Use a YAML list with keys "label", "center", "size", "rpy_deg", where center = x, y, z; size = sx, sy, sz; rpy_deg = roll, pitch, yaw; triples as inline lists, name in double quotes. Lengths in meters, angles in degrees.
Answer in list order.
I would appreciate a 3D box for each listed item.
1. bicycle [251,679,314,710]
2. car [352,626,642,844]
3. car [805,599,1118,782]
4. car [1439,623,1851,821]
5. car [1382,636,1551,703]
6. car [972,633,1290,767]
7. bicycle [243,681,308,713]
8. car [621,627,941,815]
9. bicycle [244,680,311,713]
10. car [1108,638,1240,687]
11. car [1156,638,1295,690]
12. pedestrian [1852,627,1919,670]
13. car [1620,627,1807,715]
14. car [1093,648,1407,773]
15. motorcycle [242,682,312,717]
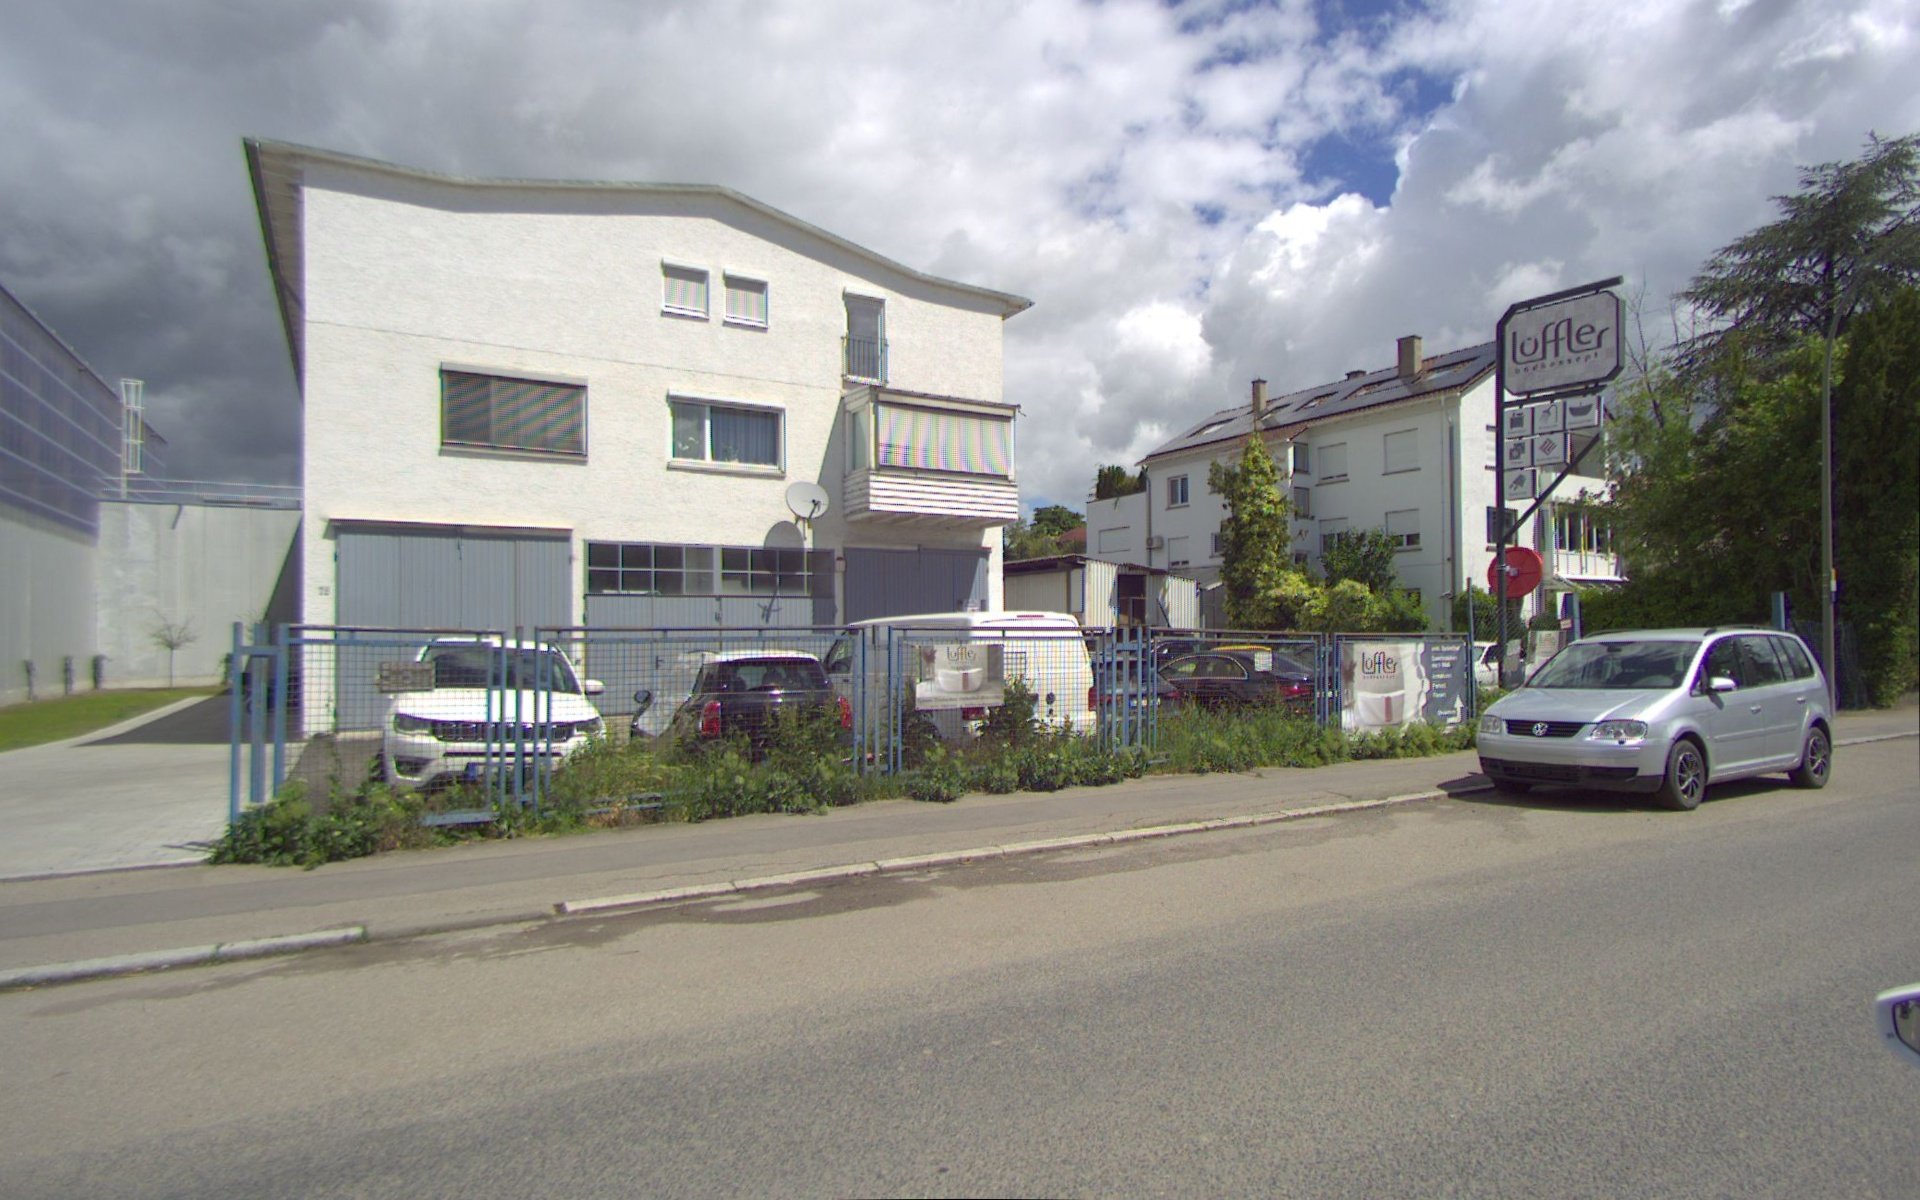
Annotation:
- label: "bicycle"
  center: [-21.030, 2.928, 31.197]
  size: [1.579, 0.867, 0.444]
  rpy_deg: [1, 1, -31]
- label: "car"
  center: [-4.583, 1.129, 9.705]
  size: [1.968, 1.586, 4.261]
  rpy_deg: [5, -4, -29]
- label: "car"
  center: [-0.179, 1.059, 12.568]
  size: [1.969, 1.859, 4.258]
  rpy_deg: [5, -4, -31]
- label: "car"
  center: [6.996, 1.070, 10.170]
  size: [4.313, 1.624, 1.783]
  rpy_deg: [1, -3, -31]
- label: "car"
  center: [13.114, 1.727, 25.969]
  size: [4.329, 1.564, 1.983]
  rpy_deg: [1, -2, -33]
- label: "car"
  center: [2.131, 1.270, 13.687]
  size: [1.969, 1.504, 4.258]
  rpy_deg: [5, -4, -31]
- label: "bicycle"
  center: [-20.317, 2.864, 29.848]
  size: [1.579, 0.867, 0.297]
  rpy_deg: [1, 1, -31]
- label: "car"
  center: [-2.135, 1.166, 10.858]
  size: [1.969, 1.586, 4.258]
  rpy_deg: [5, -4, -31]
- label: "bicycle"
  center: [-19.918, 2.816, 29.345]
  size: [1.579, 0.867, 0.392]
  rpy_deg: [1, 1, -31]
- label: "car"
  center: [7.431, 2.115, 34.719]
  size: [4.329, 1.564, 1.983]
  rpy_deg: [1, -2, -33]
- label: "car"
  center: [8.696, 2.045, 32.823]
  size: [4.329, 1.564, 1.983]
  rpy_deg: [1, -2, -33]
- label: "pedestrian"
  center: [41.524, 2.126, 43.500]
  size: [1.979, 1.729, 3.962]
  rpy_deg: [1, 0, -34]
- label: "car"
  center: [15.865, 1.419, 21.111]
  size: [3.959, 1.679, 1.981]
  rpy_deg: [1, -2, -35]
- label: "car"
  center: [4.090, 1.536, 14.847]
  size: [1.969, 1.504, 4.258]
  rpy_deg: [5, -4, -31]
- label: "motorcycle"
  center: [-19.056, 2.775, 28.059]
  size: [1.579, 0.867, 0.539]
  rpy_deg: [1, 1, -31]
